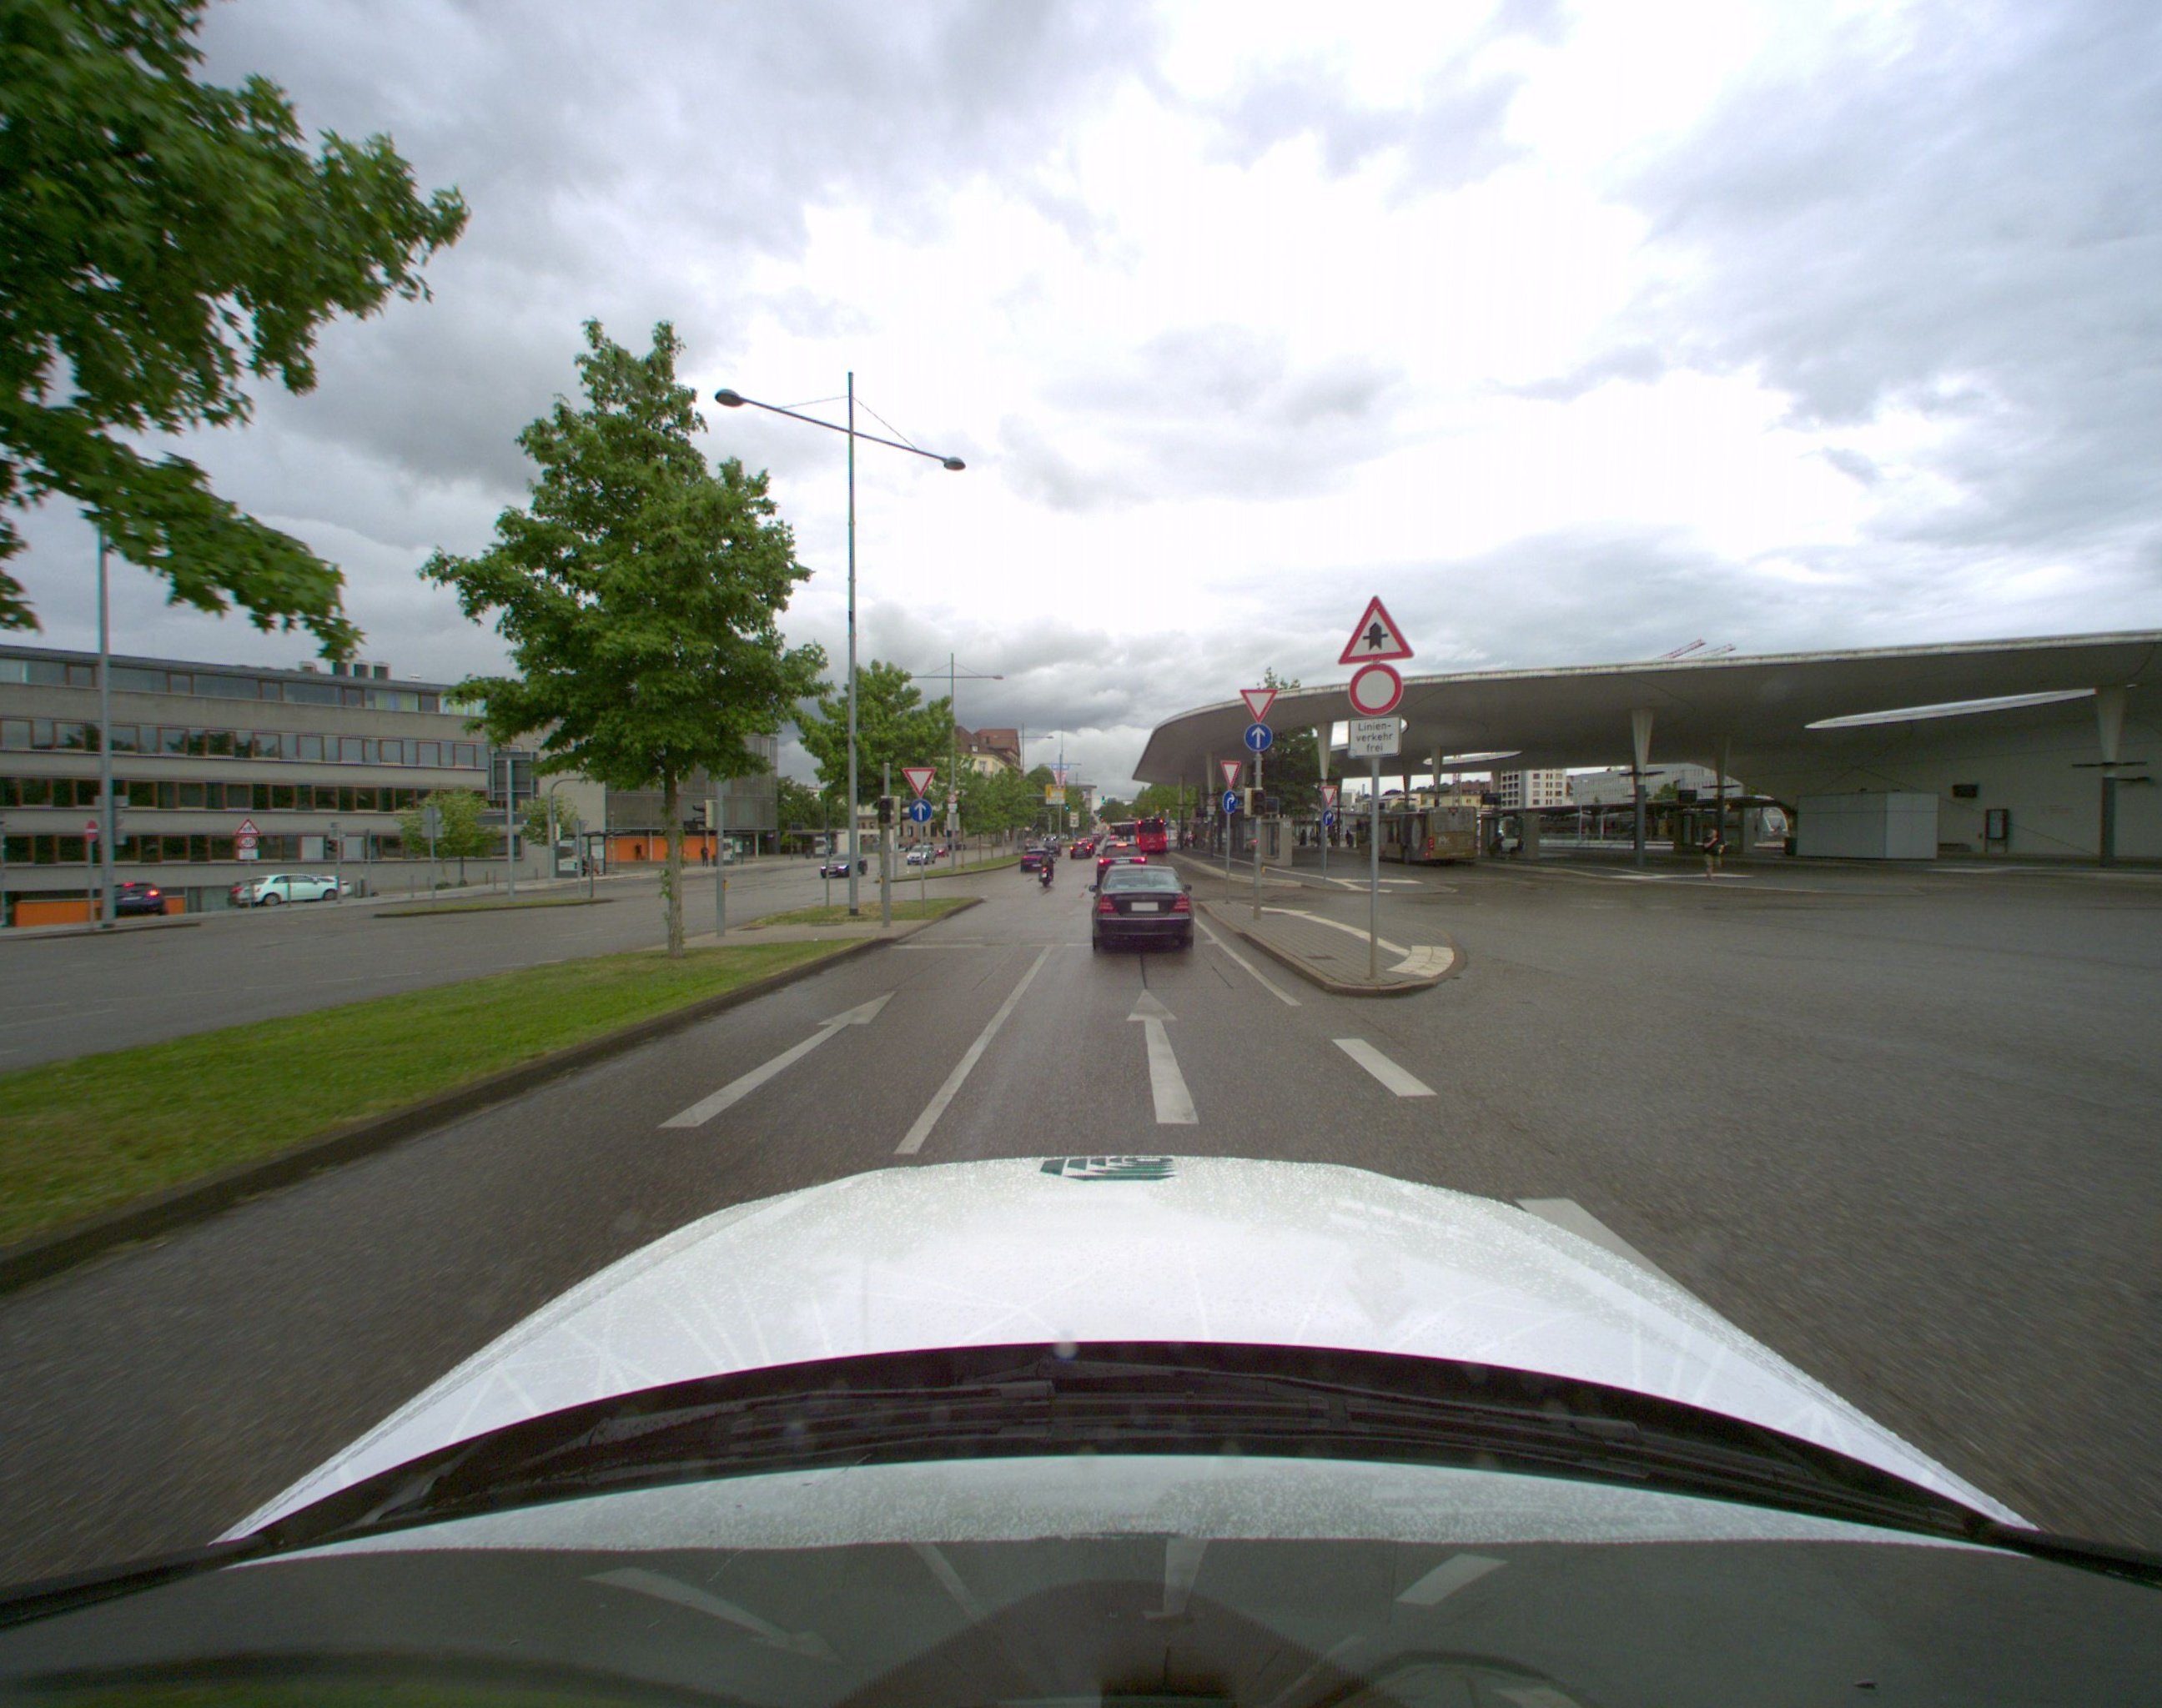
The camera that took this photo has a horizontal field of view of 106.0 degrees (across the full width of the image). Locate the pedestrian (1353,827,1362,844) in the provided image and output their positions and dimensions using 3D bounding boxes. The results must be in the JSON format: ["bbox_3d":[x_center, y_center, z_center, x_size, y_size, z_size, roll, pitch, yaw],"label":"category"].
[{"bbox_3d":[24.527,-1.629,72.218,0.558,1.444,0.613,-1,0,-1],"label":"pedestrian"}]

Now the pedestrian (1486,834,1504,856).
[{"bbox_3d":[23.564,-0.505,46.355,0.786,1.226,0.637,-1,1,19],"label":"pedestrian"}]

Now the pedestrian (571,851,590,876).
[{"bbox_3d":[-29.949,0.555,48.744,0.676,1.469,0.626,-1,1,0],"label":"pedestrian"}]

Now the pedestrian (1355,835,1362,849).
[{"bbox_3d":[24.098,-1.052,70.693,0.454,1.250,0.566,1,1,31],"label":"pedestrian"}]

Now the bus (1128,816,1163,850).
[{"bbox_3d":[6.630,-2.168,84.898,3.278,3.288,8.857,-2,1,3],"label":"bus"}]

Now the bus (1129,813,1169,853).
[{"bbox_3d":[6.132,-1.926,75.373,3.273,3.291,10.887,-2,1,3],"label":"bus"}]

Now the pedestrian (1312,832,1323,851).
[{"bbox_3d":[20.330,-1.069,69.987,0.597,1.581,0.710,-1,-1,-7],"label":"pedestrian"}]

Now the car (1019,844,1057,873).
[{"bbox_3d":[-2.575,0.227,49.865,1.809,1.570,4.407,-3,1,2],"label":"car"}]

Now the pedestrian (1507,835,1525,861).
[{"bbox_3d":[23.558,-0.337,44.124,0.786,1.377,0.637,-1,1,19],"label":"pedestrian"}]

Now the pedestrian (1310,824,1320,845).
[{"bbox_3d":[22.735,-1.873,79.044,0.717,2.014,0.674,2,-3,28],"label":"pedestrian"}]

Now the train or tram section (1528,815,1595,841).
[{"bbox_3d":[72.877,-3.887,123.937,3.120,3.659,12.329,3,1,1],"label":"train or tram section"}]

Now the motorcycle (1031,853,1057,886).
[{"bbox_3d":[-1.533,0.642,34.513,0.789,1.262,1.858,-2,1,6],"label":"motorcycle"}]

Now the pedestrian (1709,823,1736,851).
[{"bbox_3d":[36.320,-0.947,46.098,0.793,1.586,0.907,1,0,-4],"label":"pedestrian"}]

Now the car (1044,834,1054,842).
[{"bbox_3d":[-6.636,-3.256,169.977,1.773,1.567,3.432,-3,1,2],"label":"car"}]

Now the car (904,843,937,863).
[{"bbox_3d":[-14.082,-0.139,71.655,1.840,1.652,4.421,-1,1,2],"label":"car"}]

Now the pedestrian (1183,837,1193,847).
[{"bbox_3d":[10.867,-1.242,82.713,0.906,0.985,0.636,0,-3,16],"label":"pedestrian"}]

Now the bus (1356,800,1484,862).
[{"bbox_3d":[19.034,-1.287,46.869,2.711,3.043,12.096,-2,1,2],"label":"bus"}]

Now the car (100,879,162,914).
[{"bbox_3d":[-41.734,1.822,35.760,3.536,1.351,1.492,0,0,36],"label":"car"}]

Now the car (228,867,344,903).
[{"bbox_3d":[-38.239,1.466,39.270,1.615,1.495,3.599,-1,1,17],"label":"car"}]

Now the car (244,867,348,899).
[{"bbox_3d":[-41.968,1.502,43.582,1.743,1.495,3.812,0,1,40],"label":"car"}]

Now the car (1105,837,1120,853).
[{"bbox_3d":[3.555,-1.026,91.027,1.569,1.567,3.873,-3,1,2],"label":"car"}]

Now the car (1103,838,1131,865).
[{"bbox_3d":[2.351,-0.209,53.318,1.734,1.567,3.873,-3,1,2],"label":"car"}]

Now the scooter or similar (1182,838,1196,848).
[{"bbox_3d":[10.992,-1.130,82.847,1.233,1.013,0.767,-1,0,16],"label":"scooter or similar"}]

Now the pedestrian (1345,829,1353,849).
[{"bbox_3d":[25.311,-1.399,76.865,0.583,1.874,0.721,1,1,31],"label":"pedestrian"}]

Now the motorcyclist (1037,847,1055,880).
[{"bbox_3d":[-1.502,0.386,34.669,0.638,1.347,0.690,-2,1,5],"label":"motorcyclist"}]

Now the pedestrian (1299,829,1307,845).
[{"bbox_3d":[22.514,-1.766,82.504,0.574,1.578,0.565,1,-3,31],"label":"pedestrian"}]

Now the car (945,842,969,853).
[{"bbox_3d":[-18.729,-0.968,122.984,3.720,1.561,1.743,-1,-1,42],"label":"car"}]

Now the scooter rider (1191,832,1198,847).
[{"bbox_3d":[11.566,-1.436,82.677,0.587,1.490,0.768,-1,0,16],"label":"scooter rider"}]

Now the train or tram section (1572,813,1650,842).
[{"bbox_3d":[72.559,-3.572,111.912,3.120,3.659,11.621,3,1,1],"label":"train or tram section"}]

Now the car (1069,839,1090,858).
[{"bbox_3d":[-0.082,-0.484,70.113,1.569,1.504,3.874,-3,1,3],"label":"car"}]

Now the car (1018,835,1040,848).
[{"bbox_3d":[-6.985,-1.668,109.940,1.872,1.684,3.973,3,-1,-20],"label":"car"}]

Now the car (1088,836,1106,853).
[{"bbox_3d":[1.546,-0.955,79.038,1.569,1.567,3.873,-3,1,2],"label":"car"}]

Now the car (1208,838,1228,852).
[{"bbox_3d":[16.435,-1.075,97.745,1.705,1.662,4.241,0,1,1],"label":"car"}]

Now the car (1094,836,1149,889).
[{"bbox_3d":[1.615,0.287,33.120,1.950,1.875,4.877,-3,1,2],"label":"car"}]

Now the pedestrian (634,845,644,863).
[{"bbox_3d":[-42.110,-0.015,77.593,0.469,1.683,0.647,-1,1,33],"label":"pedestrian"}]

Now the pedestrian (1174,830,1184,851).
[{"bbox_3d":[9.462,-1.310,78.746,0.772,2.013,0.785,2,4,14],"label":"pedestrian"}]

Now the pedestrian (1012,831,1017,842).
[{"bbox_3d":[-12.814,-3.416,156.602,0.727,2.013,0.820,-2,1,-24],"label":"pedestrian"}]

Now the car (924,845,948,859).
[{"bbox_3d":[-16.543,-0.261,93.179,1.815,1.552,4.036,-1,1,3],"label":"car"}]

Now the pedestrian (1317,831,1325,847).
[{"bbox_3d":[24.366,-1.537,82.780,0.573,1.578,0.565,1,-3,37],"label":"pedestrian"}]

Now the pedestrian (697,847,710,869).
[{"bbox_3d":[-28.875,0.280,62.290,0.471,1.683,0.765,-2,1,8],"label":"pedestrian"}]

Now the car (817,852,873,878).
[{"bbox_3d":[-14.916,0.640,51.805,1.839,1.504,4.924,-1,1,3],"label":"car"}]

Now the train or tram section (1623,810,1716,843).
[{"bbox_3d":[72.205,-3.295,100.314,3.120,3.680,11.621,3,1,1],"label":"train or tram section"}]

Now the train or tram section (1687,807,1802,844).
[{"bbox_3d":[71.896,-3.003,88.713,3.120,3.677,11.621,3,1,1],"label":"train or tram section"}]

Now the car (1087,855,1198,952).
[{"bbox_3d":[1.025,0.779,14.852,1.691,1.462,4.305,-1,0,2],"label":"car"}]

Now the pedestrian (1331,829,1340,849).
[{"bbox_3d":[21.681,-1.279,69.429,0.559,1.691,0.613,0,1,-5],"label":"pedestrian"}]

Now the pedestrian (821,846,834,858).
[{"bbox_3d":[-27.559,-0.210,88.395,0.967,1.267,0.854,3,2,22],"label":"pedestrian"}]

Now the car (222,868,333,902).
[{"bbox_3d":[-40.203,1.535,40.846,1.615,1.495,3.599,-1,1,17],"label":"car"}]

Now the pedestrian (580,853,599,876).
[{"bbox_3d":[-29.943,0.629,49.617,0.676,1.392,0.721,-1,1,0],"label":"pedestrian"}]

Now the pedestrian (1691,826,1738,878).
[{"bbox_3d":[21.344,-0.065,27.451,0.720,1.683,1.013,-3,1,-24],"label":"pedestrian"}]

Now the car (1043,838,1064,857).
[{"bbox_3d":[-2.562,-0.612,77.153,1.670,1.623,3.873,-3,1,2],"label":"car"}]

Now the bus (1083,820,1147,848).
[{"bbox_3d":[5.008,-2.886,123.032,2.860,3.987,11.731,-2,1,-37],"label":"bus"}]

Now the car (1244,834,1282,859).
[{"bbox_3d":[11.411,-0.497,51.263,1.642,1.453,3.238,-1,2,0],"label":"car"}]

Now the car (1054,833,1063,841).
[{"bbox_3d":[-4.852,-3.633,176.210,1.569,1.567,3.432,-3,1,2],"label":"car"}]

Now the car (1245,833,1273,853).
[{"bbox_3d":[15.652,-0.983,71.789,1.706,1.662,4.241,0,1,1],"label":"car"}]
